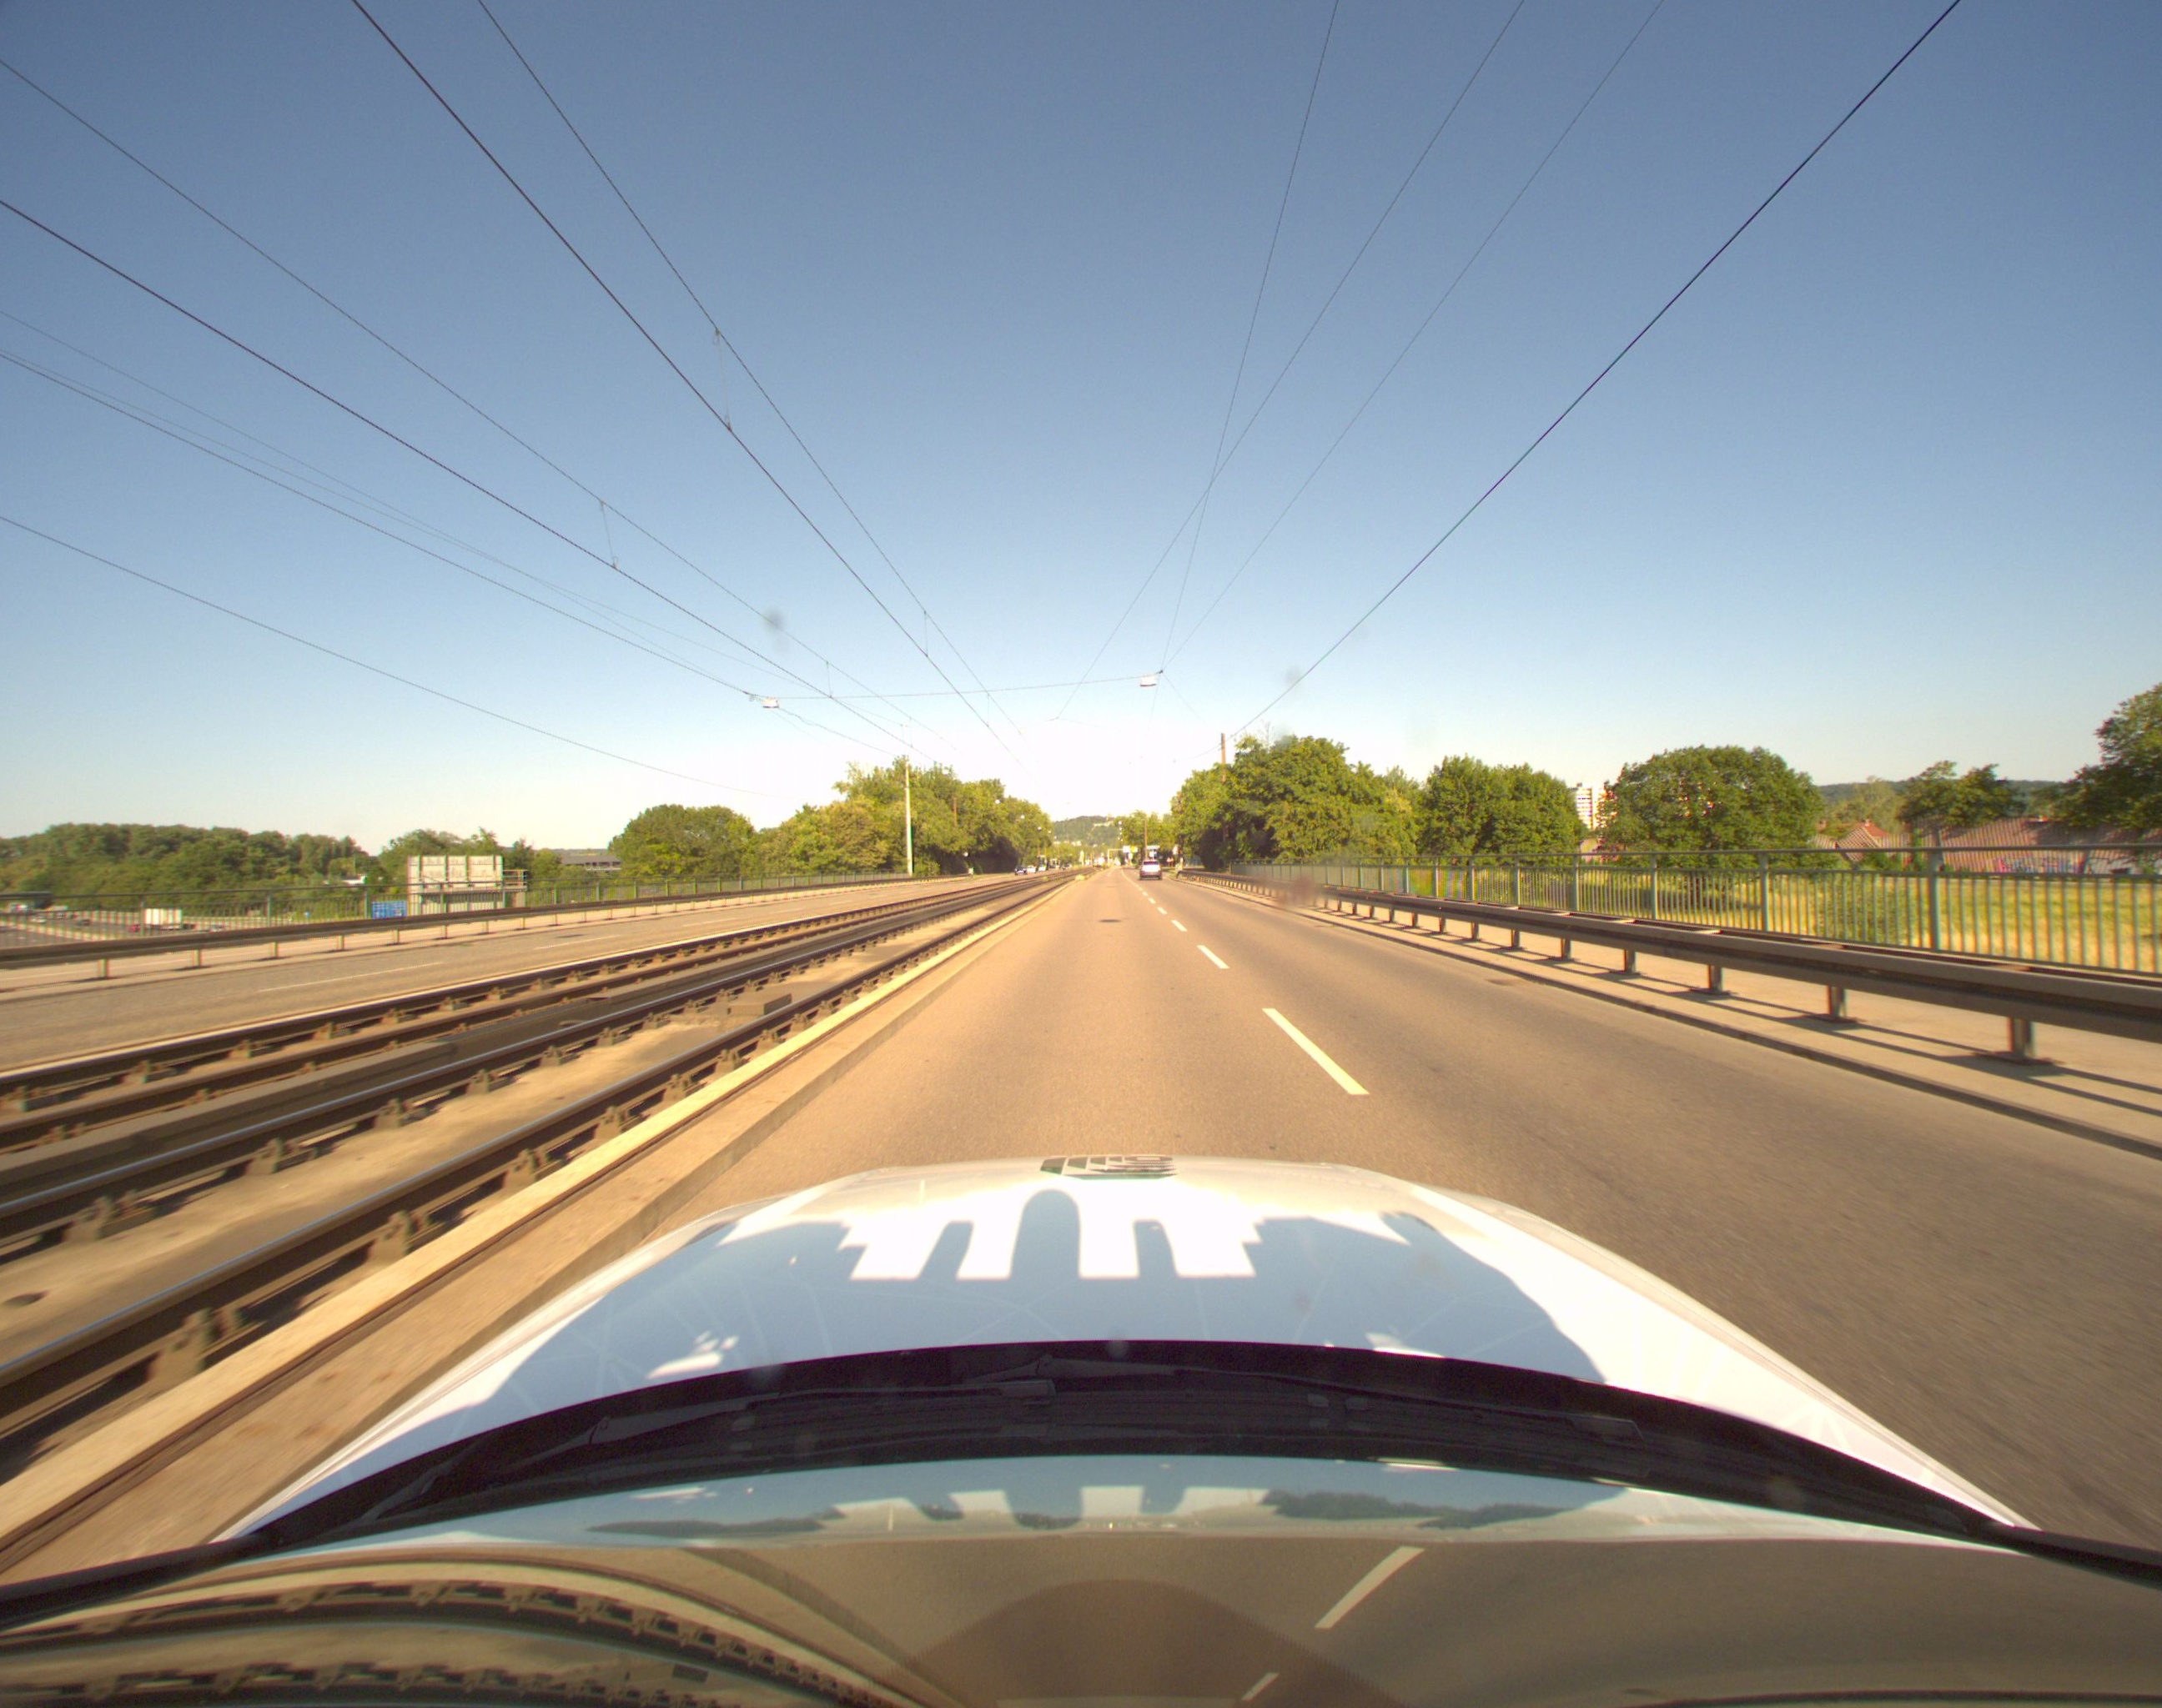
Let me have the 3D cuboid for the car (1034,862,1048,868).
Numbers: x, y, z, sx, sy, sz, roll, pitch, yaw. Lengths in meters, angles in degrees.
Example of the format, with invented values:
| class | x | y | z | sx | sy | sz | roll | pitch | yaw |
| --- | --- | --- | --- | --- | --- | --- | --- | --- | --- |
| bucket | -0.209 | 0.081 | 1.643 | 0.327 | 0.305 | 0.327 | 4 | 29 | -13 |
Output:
| class | x | y | z | sx | sy | sz | roll | pitch | yaw |
| --- | --- | --- | --- | --- | --- | --- | --- | --- | --- |
| car | -10.631 | 2.891 | 216.267 | 1.704 | 1.556 | 4.145 | -3 | -1 | -35 |

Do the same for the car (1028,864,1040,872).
| class | x | y | z | sx | sy | sz | roll | pitch | yaw |
| --- | --- | --- | --- | --- | --- | --- | --- | --- | --- |
| car | -8.991 | 2.740 | 156.417 | 1.749 | 1.414 | 4.878 | -4 | -1 | 1 |

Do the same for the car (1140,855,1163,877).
| class | x | y | z | sx | sy | sz | roll | pitch | yaw |
| --- | --- | --- | --- | --- | --- | --- | --- | --- | --- |
| car | 5.912 | 1.022 | 67.847 | 1.799 | 1.773 | 3.869 | 0 | -1 | 7 |

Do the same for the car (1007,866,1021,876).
| class | x | y | z | sx | sy | sz | roll | pitch | yaw |
| --- | --- | --- | --- | --- | --- | --- | --- | --- | --- |
| car | -10.782 | 2.746 | 132.137 | 1.703 | 1.580 | 4.802 | -2 | -1 | 1 |

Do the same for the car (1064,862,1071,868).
| class | x | y | z | sx | sy | sz | roll | pitch | yaw |
| --- | --- | --- | --- | --- | --- | --- | --- | --- | --- |
| car | -3.616 | 2.950 | 218.798 | 1.650 | 1.432 | 4.505 | -3 | -1 | 3 |
